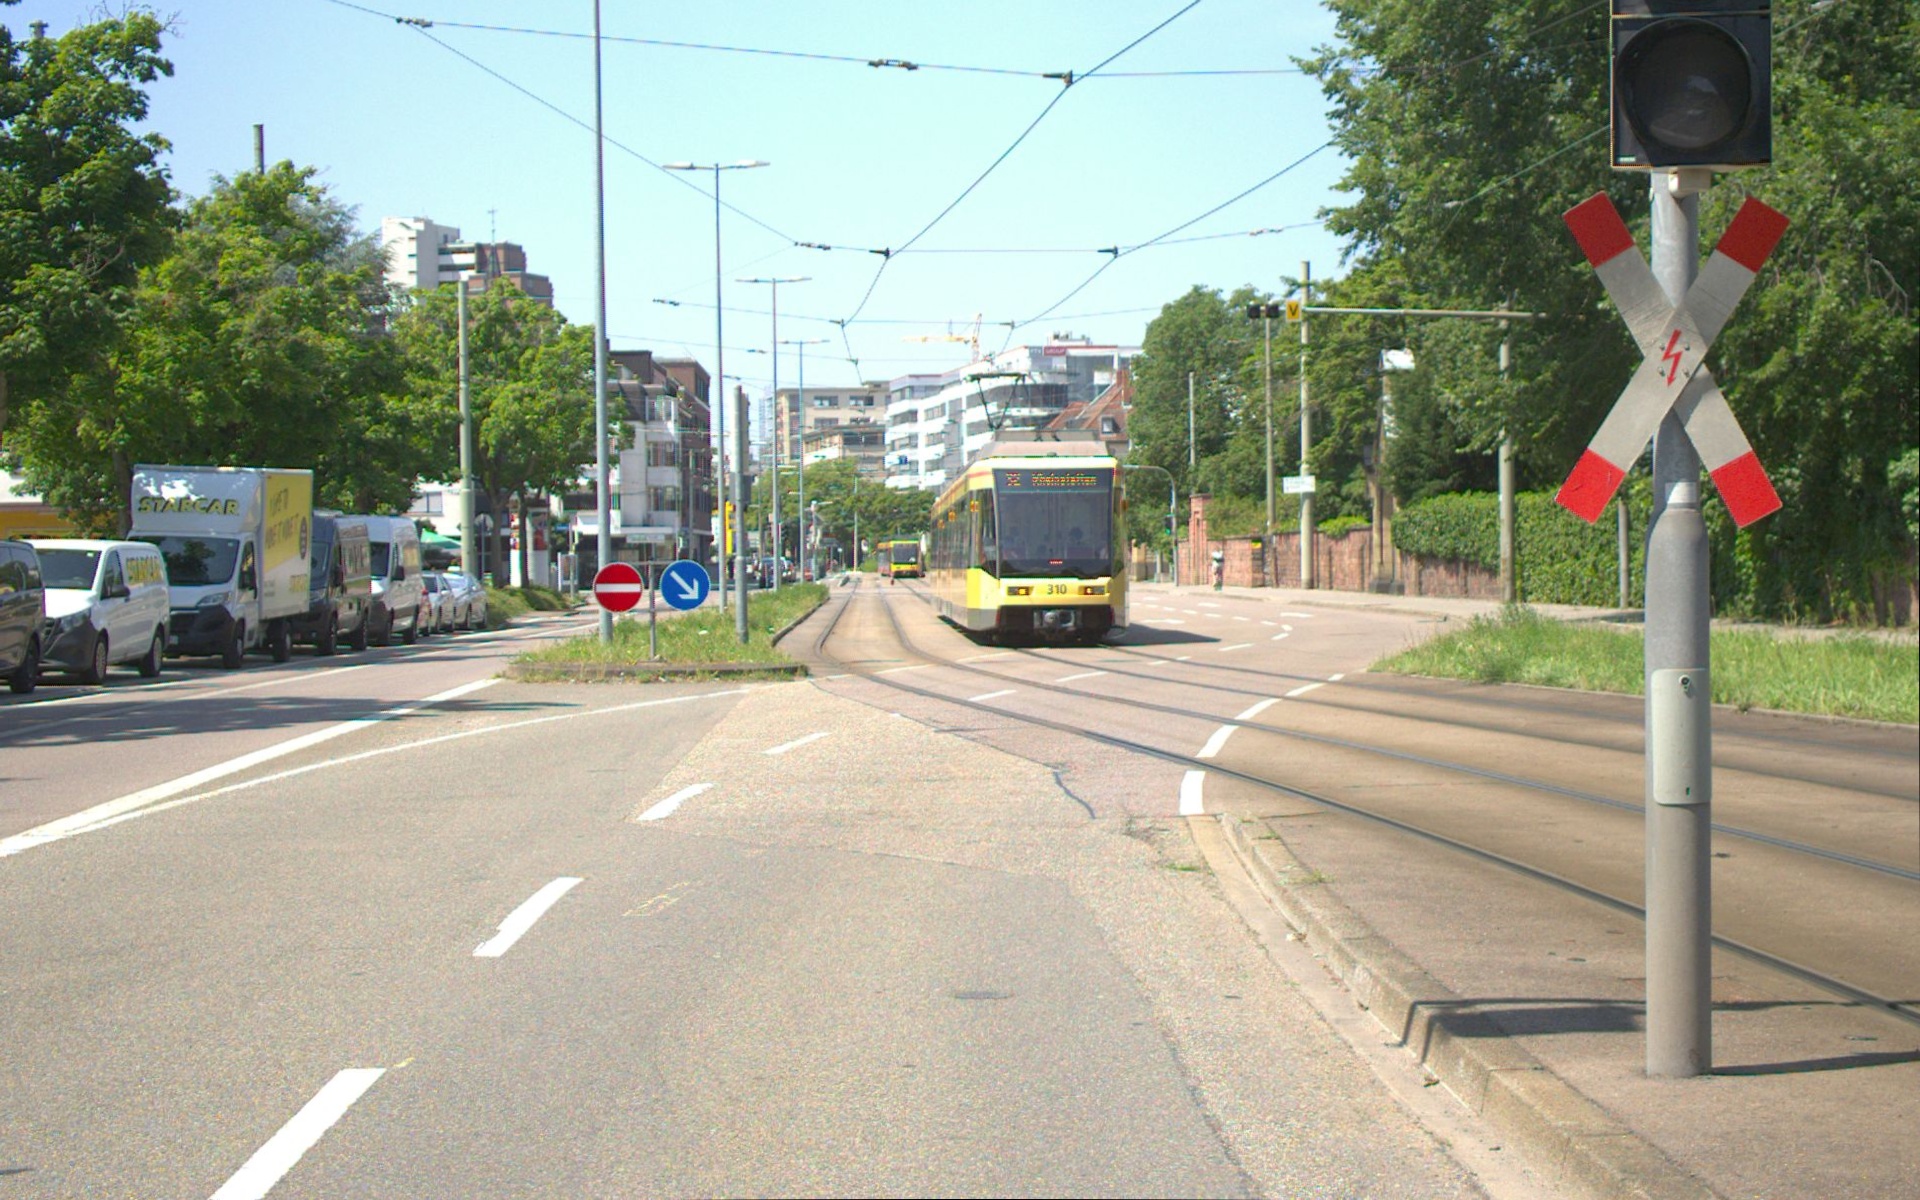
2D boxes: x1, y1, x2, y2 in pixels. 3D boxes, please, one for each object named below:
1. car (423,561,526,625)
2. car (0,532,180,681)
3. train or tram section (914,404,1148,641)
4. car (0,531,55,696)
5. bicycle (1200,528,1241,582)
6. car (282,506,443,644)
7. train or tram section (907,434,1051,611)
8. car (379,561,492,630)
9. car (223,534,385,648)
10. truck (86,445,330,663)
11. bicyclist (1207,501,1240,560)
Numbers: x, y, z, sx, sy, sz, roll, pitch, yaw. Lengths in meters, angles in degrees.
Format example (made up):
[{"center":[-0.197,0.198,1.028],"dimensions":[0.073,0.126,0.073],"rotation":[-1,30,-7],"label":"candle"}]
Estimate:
[{"center":[-12.880,-0.204,91.466],"dimensions":[2.061,1.576,4.871],"rotation":[-1,1,-1],"label":"car"},{"center":[-12.134,0.052,46.534],"dimensions":[2.061,1.891,4.871],"rotation":[-1,1,-1],"label":"car"},{"center":[0.982,-1.385,62.520],"dimensions":[2.943,3.679,18.392],"rotation":[0,1,-3],"label":"train or tram section"},{"center":[-11.964,0.168,39.784],"dimensions":[1.868,1.888,4.271],"rotation":[-1,1,-1],"label":"car"},{"center":[9.319,-1.611,123.122],"dimensions":[1.092,1.901,3.682],"rotation":[-1,1,0],"label":"bicycle"},{"center":[-12.192,-0.542,70.482],"dimensions":[2.157,2.630,5.611],"rotation":[2,1,1],"label":"car"},{"center":[0.232,-1.816,81.724],"dimensions":[2.943,3.679,20.285],"rotation":[0,1,-1],"label":"train or tram section"},{"center":[-12.768,-0.134,83.963],"dimensions":[2.061,1.576,4.871],"rotation":[-1,1,-1],"label":"car"},{"center":[-11.920,-0.197,62.785],"dimensions":[2.061,1.970,4.871],"rotation":[-1,1,-1],"label":"car"},{"center":[-11.949,-0.752,55.201],"dimensions":[2.157,3.199,7.082],"rotation":[2,1,1],"label":"truck"},{"center":[9.416,-2.492,122.965],"dimensions":[1.096,2.101,1.031],"rotation":[0,0,-1],"label":"bicyclist"}]
